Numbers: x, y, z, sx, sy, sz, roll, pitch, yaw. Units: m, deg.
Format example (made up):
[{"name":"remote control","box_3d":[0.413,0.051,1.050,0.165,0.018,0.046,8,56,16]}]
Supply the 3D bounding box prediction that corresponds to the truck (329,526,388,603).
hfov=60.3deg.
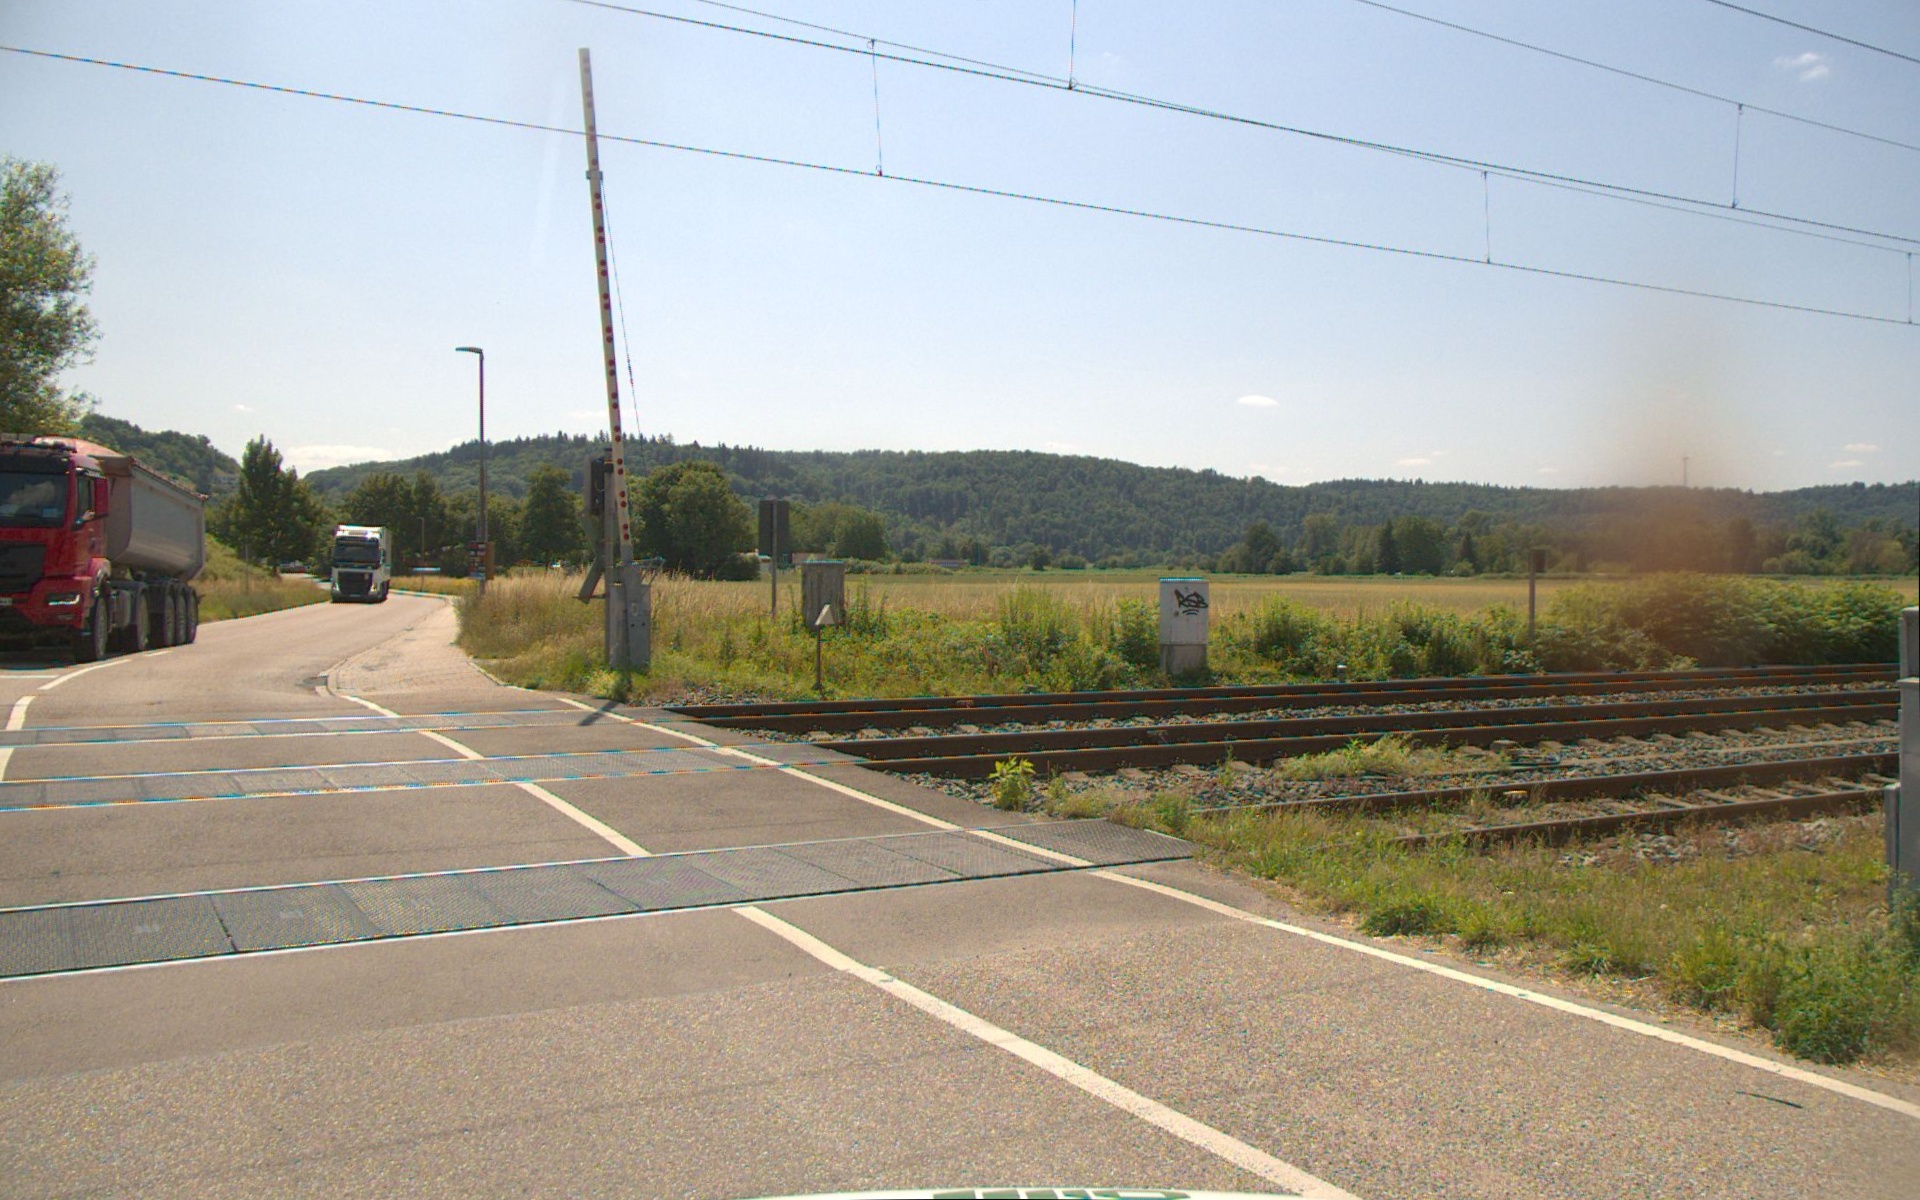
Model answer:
[{"name":"truck","box_3d":[-32.345,-1.893,89.142,2.529,4.017,6.013,0,1,-16]}]

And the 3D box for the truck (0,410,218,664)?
[{"name":"truck","box_3d":[-16.340,-1.037,30.625,2.824,3.810,12.100,0,1,-15]}]
